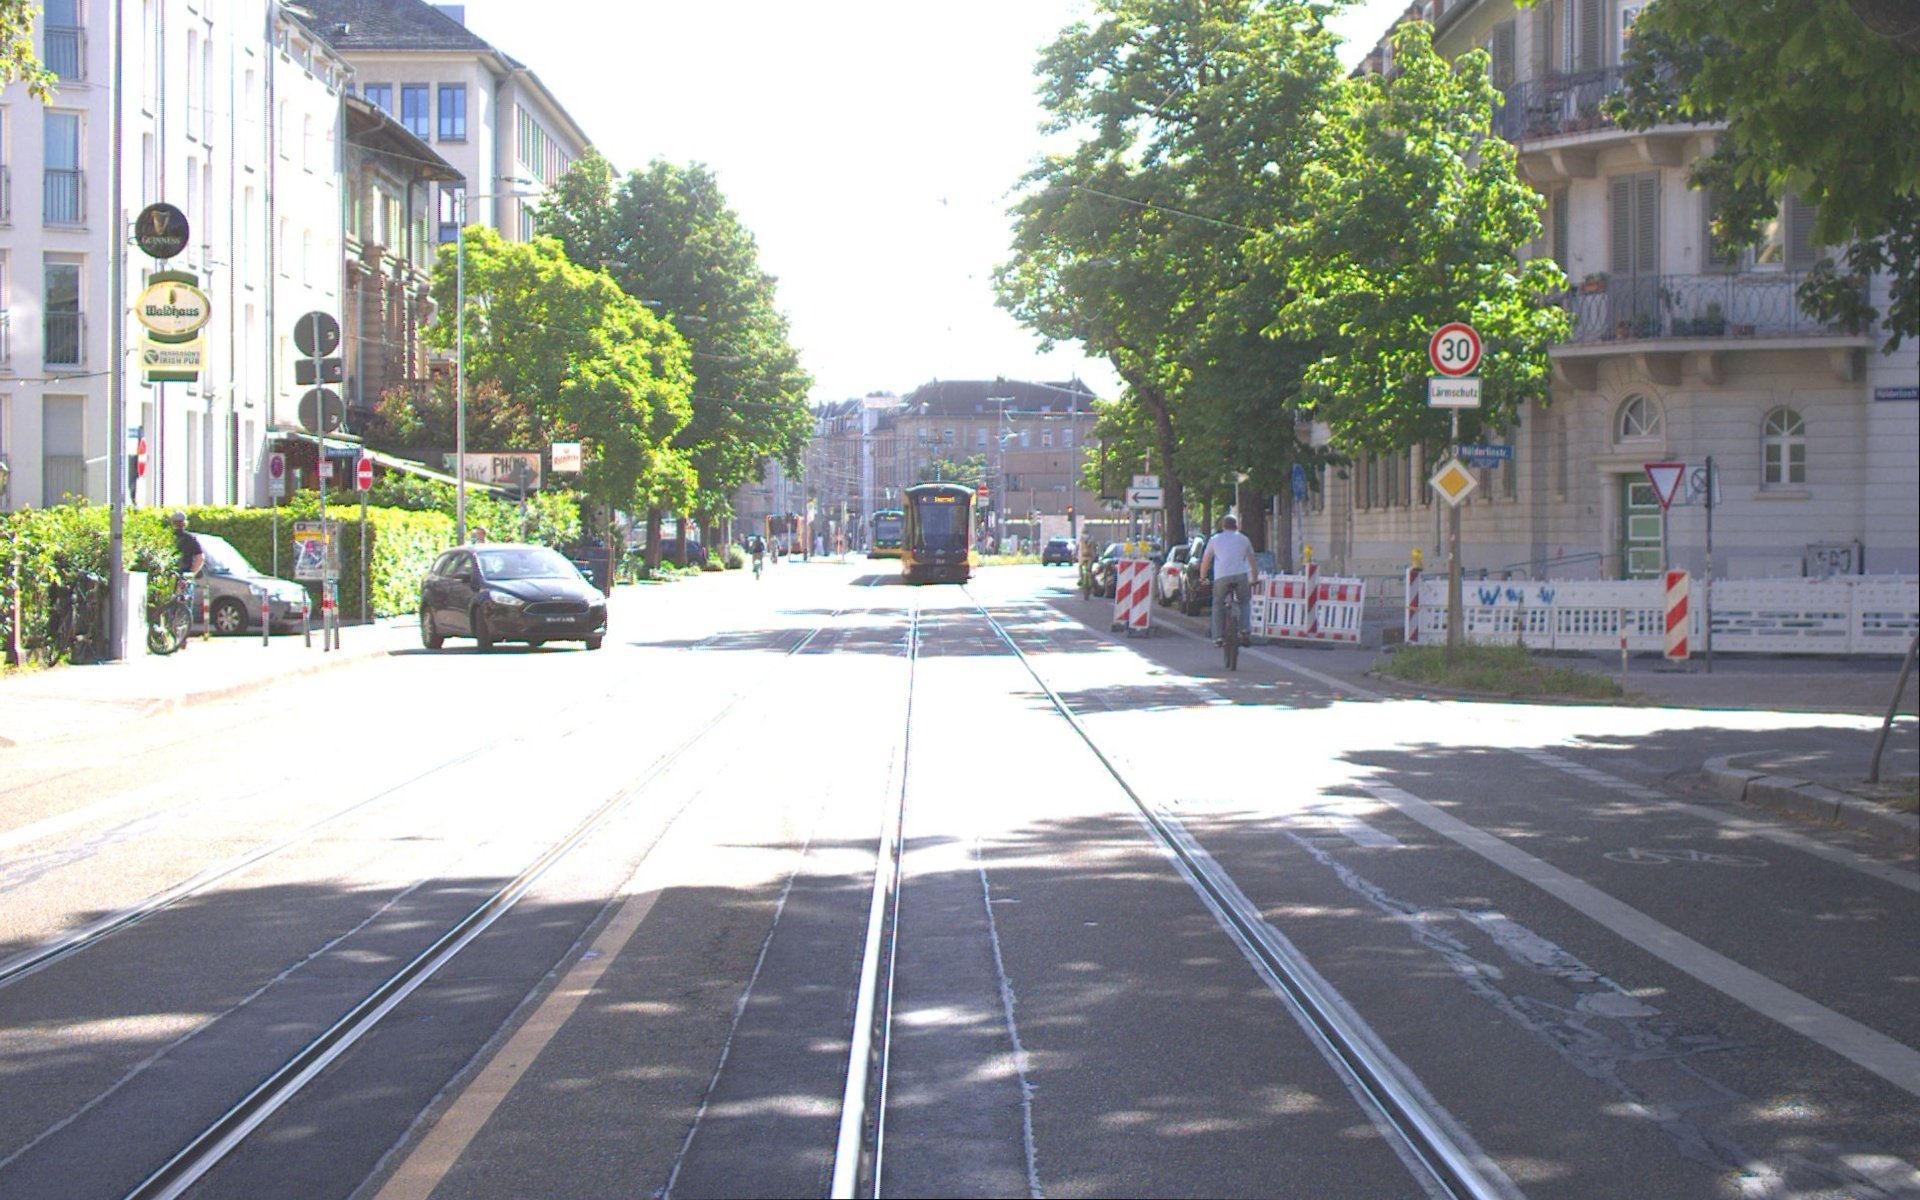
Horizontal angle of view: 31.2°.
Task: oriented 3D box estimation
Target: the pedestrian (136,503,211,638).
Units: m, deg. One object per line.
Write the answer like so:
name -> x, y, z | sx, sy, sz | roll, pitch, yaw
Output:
pedestrian -> -10.179, -0.385, 44.500 | 0.770, 1.706, 0.669 | 2, 1, 0

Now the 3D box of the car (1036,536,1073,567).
car -> 5.259, -2.723, 191.861 | 1.872, 1.657, 3.515 | 2, 1, -1

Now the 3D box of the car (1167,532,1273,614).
car -> 5.217, -0.556, 69.234 | 1.754, 1.546, 3.677 | 2, 1, -1

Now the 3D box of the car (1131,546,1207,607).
car -> 5.674, -0.658, 93.633 | 1.754, 1.546, 3.677 | 1, 1, -1

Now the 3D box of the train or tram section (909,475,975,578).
train or tram section -> -0.659, -2.564, 120.191 | 2.153, 3.420, 6.612 | 2, 1, -1

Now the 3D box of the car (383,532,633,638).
car -> -6.312, -0.195, 47.787 | 1.755, 1.415, 3.578 | 1, -1, -41

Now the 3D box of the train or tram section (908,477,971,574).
train or tram section -> -0.771, -2.732, 126.852 | 2.153, 3.420, 6.612 | 2, 1, -1

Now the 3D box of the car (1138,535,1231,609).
car -> 5.010, -0.641, 77.156 | 1.754, 1.546, 3.677 | 2, 1, -1

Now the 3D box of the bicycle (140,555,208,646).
bicycle -> -9.883, -0.002, 43.179 | 0.632, 1.065, 1.832 | 1, 1, -18

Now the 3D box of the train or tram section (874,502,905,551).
train or tram section -> -5.094, -5.307, 249.297 | 2.153, 3.420, 6.612 | 2, 1, -1

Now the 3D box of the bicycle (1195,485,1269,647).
bicycle -> 3.219, -0.416, 40.867 | 0.663, 1.853, 2.260 | 2, 1, 1

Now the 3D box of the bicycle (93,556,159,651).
bicycle -> -10.009, 0.035, 41.239 | 0.632, 1.065, 1.832 | 2, 1, -17

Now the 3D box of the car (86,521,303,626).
car -> -12.784, -0.455, 57.541 | 3.409, 1.634, 1.673 | 2, 1, -9

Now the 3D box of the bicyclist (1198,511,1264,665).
bicyclist -> 3.216, -0.152, 40.879 | 0.645, 1.789, 0.956 | 2, 1, -1
